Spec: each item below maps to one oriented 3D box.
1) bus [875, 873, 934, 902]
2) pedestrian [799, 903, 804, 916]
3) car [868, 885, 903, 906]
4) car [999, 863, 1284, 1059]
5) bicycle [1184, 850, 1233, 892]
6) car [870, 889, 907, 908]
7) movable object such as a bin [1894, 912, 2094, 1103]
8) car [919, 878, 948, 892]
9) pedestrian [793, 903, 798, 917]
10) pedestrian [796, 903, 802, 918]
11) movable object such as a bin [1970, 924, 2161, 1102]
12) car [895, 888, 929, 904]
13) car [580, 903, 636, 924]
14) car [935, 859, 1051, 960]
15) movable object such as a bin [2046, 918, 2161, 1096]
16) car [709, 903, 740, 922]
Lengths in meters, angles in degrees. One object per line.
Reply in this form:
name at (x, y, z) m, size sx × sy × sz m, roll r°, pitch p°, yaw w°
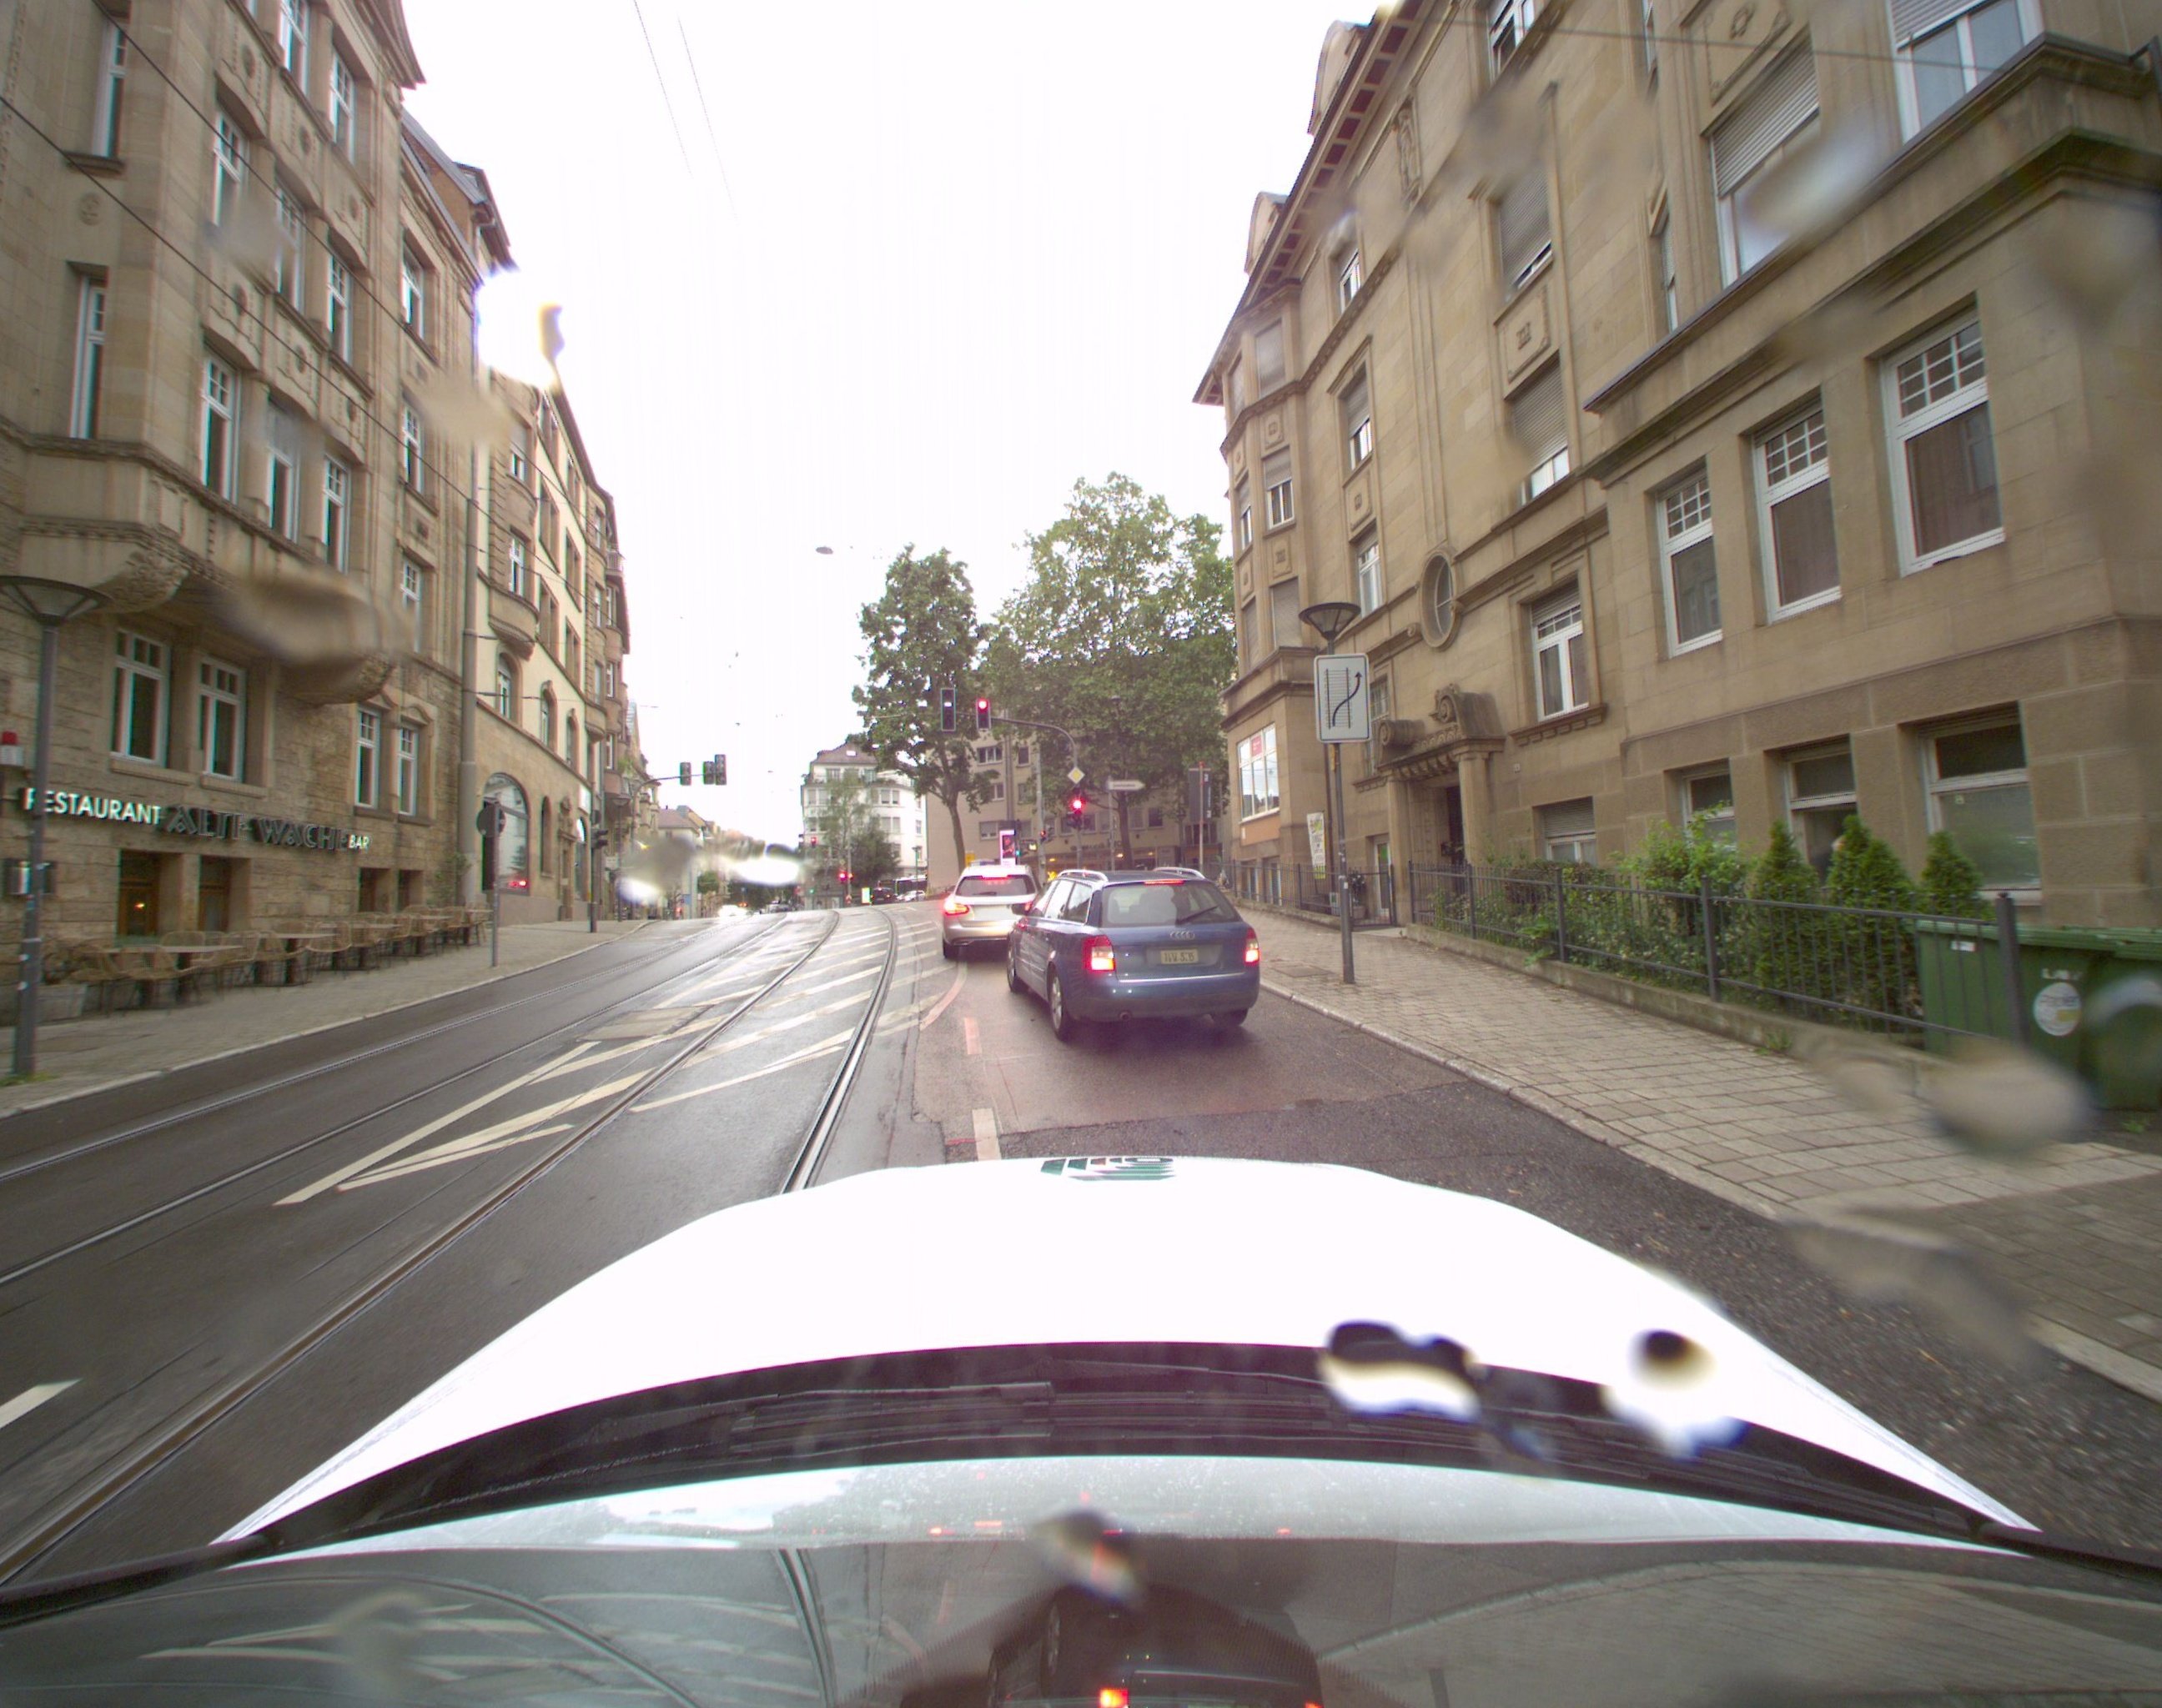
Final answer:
bus at (-20.667, 3.887, 96.104) m, size 2.832 × 2.861 × 8.771 m, roll -3°, pitch 0°, yaw 16°
pedestrian at (-37.102, 7.343, 108.185) m, size 0.650 × 1.661 × 0.646 m, roll -1°, pitch -1°, yaw -19°
car at (-16.615, 3.520, 69.383) m, size 1.788 × 1.510 × 4.000 m, roll -5°, pitch 0°, yaw 1°
car at (0.317, 0.835, 8.331) m, size 1.713 × 1.415 × 4.016 m, roll -1°, pitch 0°, yaw -14°
bicycle at (3.859, 0.507, 24.731) m, size 1.300 × 1.173 × 0.524 m, roll -4°, pitch 0°, yaw -11°
car at (-20.109, 4.639, 85.100) m, size 1.779 × 1.614 × 4.020 m, roll -3°, pitch 0°, yaw 20°
movable object such as a bin at (5.426, 0.882, 4.868) m, size 0.537 × 1.026 × 0.602 m, roll 2°, pitch -2°, yaw -10°
car at (-18.845, 4.008, 104.283) m, size 1.779 × 1.510 × 4.020 m, roll -3°, pitch 0°, yaw 20°
pedestrian at (-35.226, 6.965, 100.487) m, size 0.650 × 1.661 × 0.646 m, roll -1°, pitch -1°, yaw -19°
pedestrian at (-33.912, 6.814, 98.029) m, size 0.650 × 1.661 × 0.646 m, roll -1°, pitch -1°, yaw -19°
movable object such as a bin at (6.002, 0.935, 4.955) m, size 0.537 × 0.968 × 0.602 m, roll 2°, pitch -2°, yaw -10°
car at (-18.669, 4.638, 89.923) m, size 1.779 × 1.510 × 4.020 m, roll -3°, pitch 0°, yaw 20°
car at (-40.834, 5.107, 70.376) m, size 4.008 × 1.510 × 1.785 m, roll -2°, pitch 0°, yaw -26°
car at (-1.483, 0.842, 14.047) m, size 1.708 × 1.456 × 3.546 m, roll -1°, pitch 0°, yaw -5°
movable object such as a bin at (6.634, 0.934, 5.078) m, size 0.537 × 1.026 × 0.602 m, roll 2°, pitch -2°, yaw -10°
car at (-34.081, 5.591, 77.785) m, size 1.807 × 1.510 × 4.616 m, roll -2°, pitch 0°, yaw -34°
